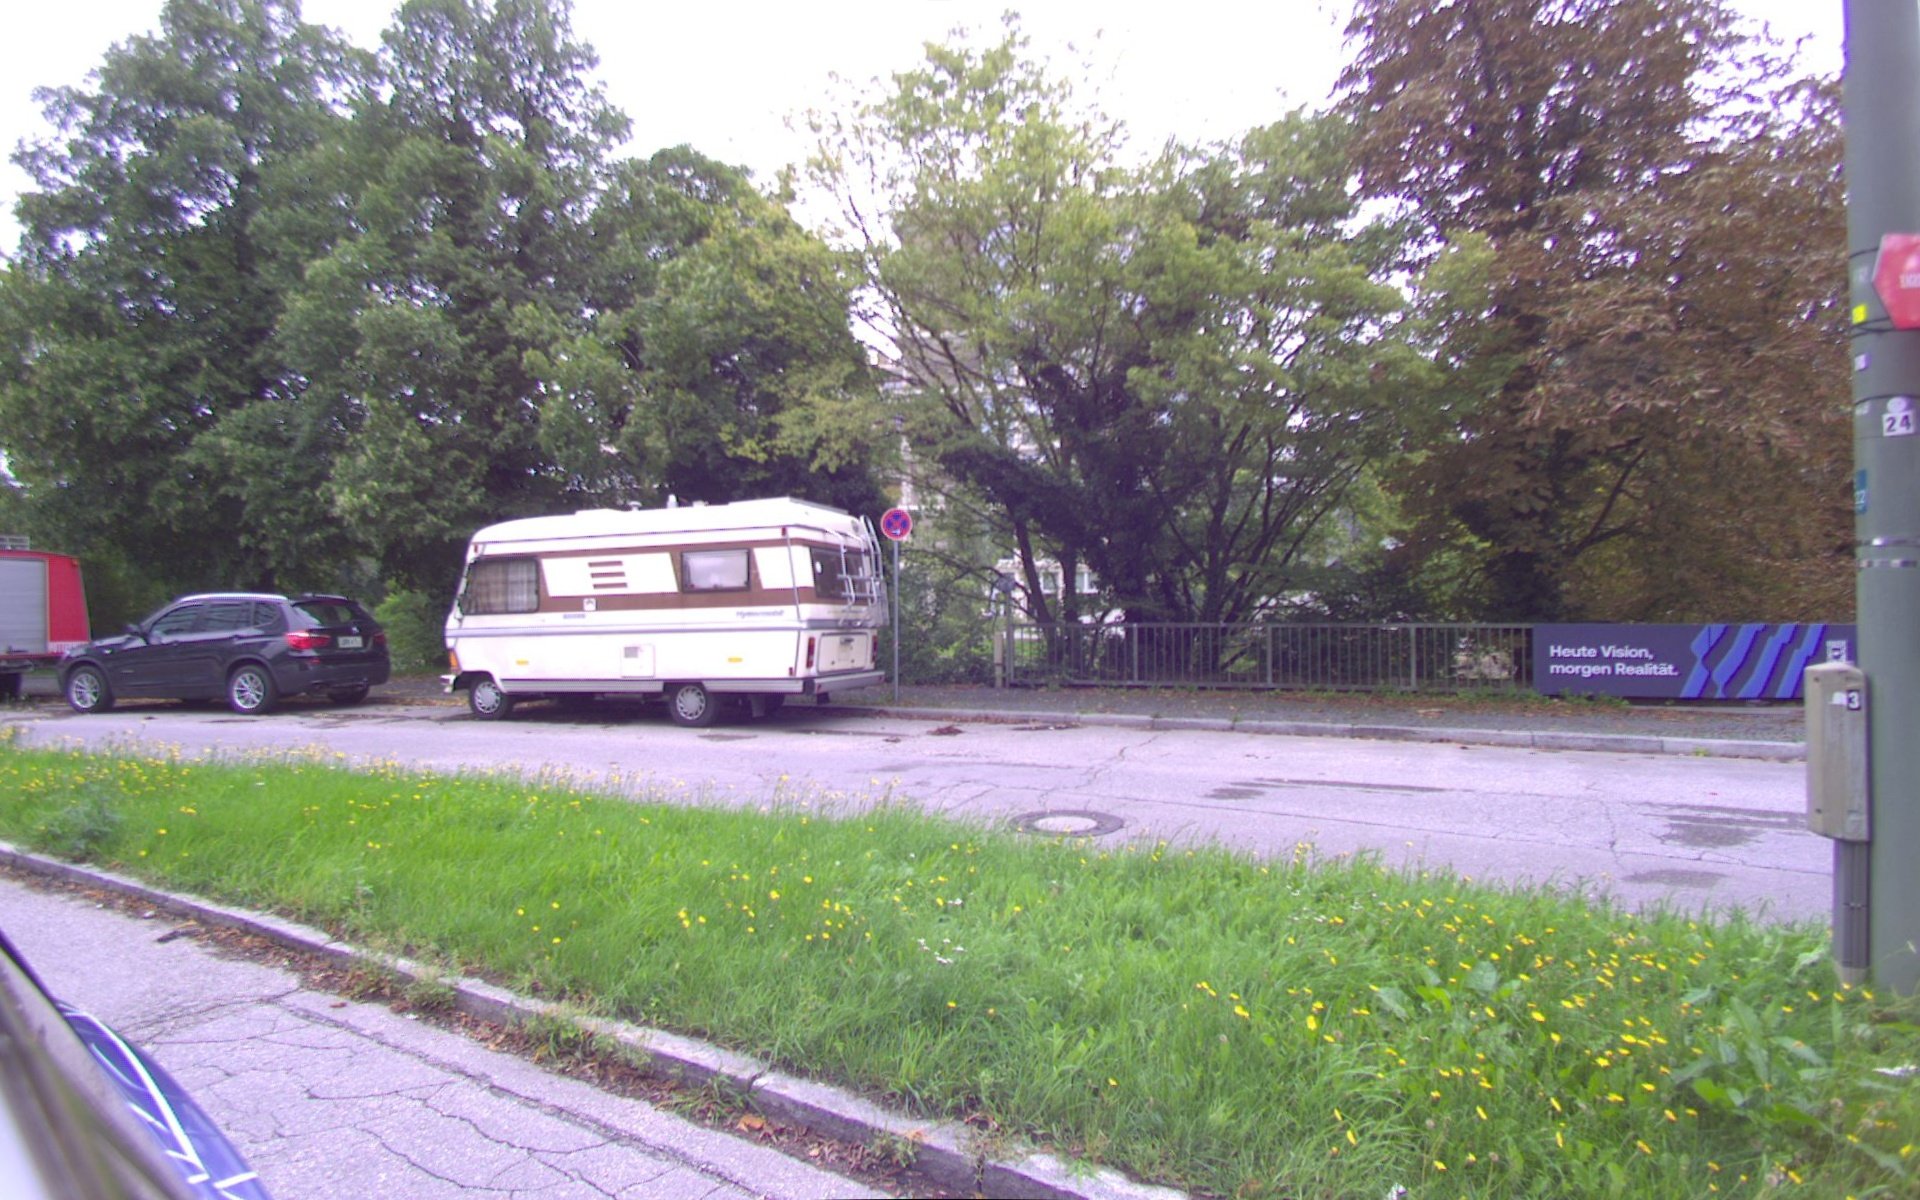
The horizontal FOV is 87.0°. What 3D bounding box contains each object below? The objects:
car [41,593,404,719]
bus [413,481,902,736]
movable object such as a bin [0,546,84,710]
[{"bbox_3d":[-10.665,0.778,14.742,4.413,1.662,1.775,-1,-1,12],"label":"car"},{"bbox_3d":[-3.795,0.146,12.822,5.689,2.719,2.308,-1,-2,19],"label":"bus"},{"bbox_3d":[-17.512,0.457,16.200,6.125,2.477,2.102,-1,-1,14],"label":"movable object such as a bin"}]
